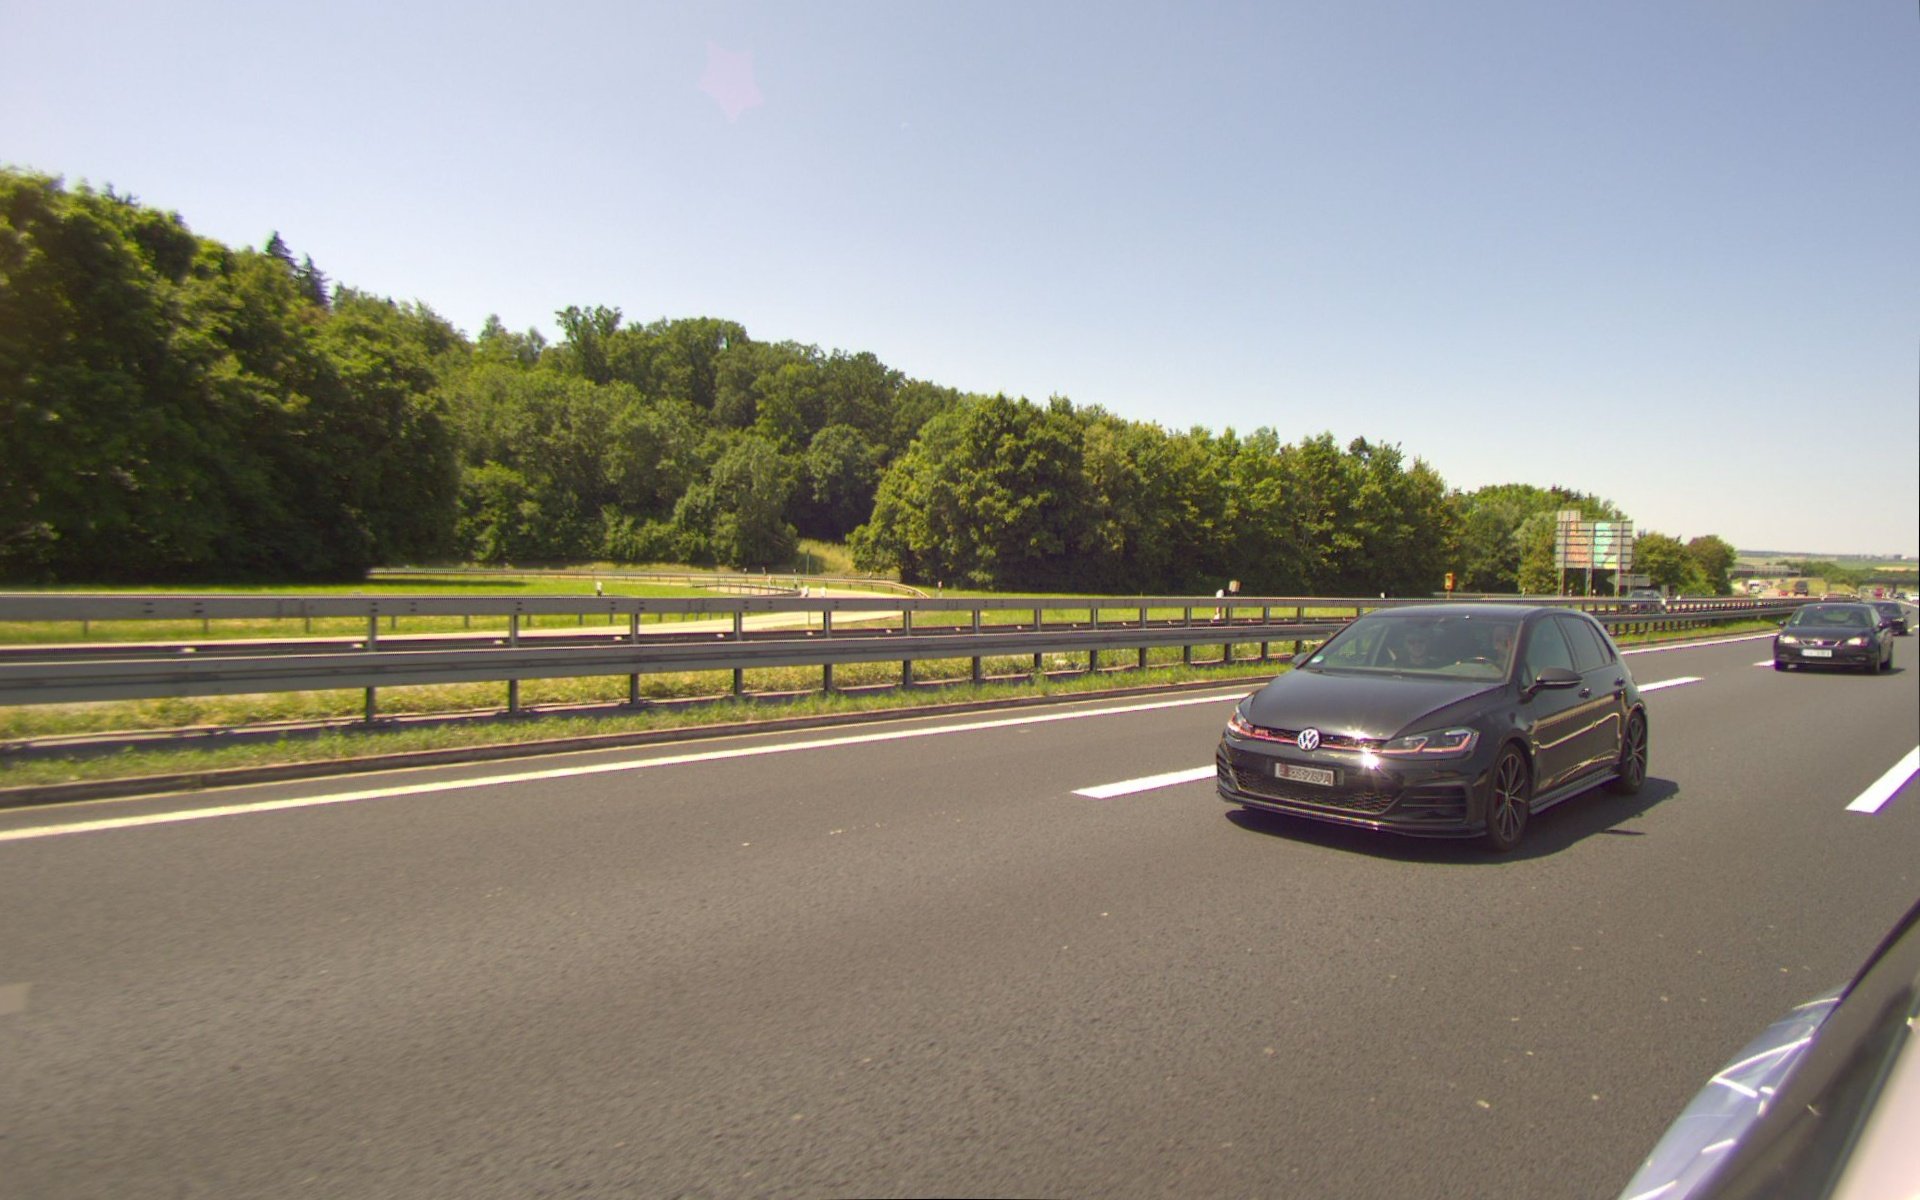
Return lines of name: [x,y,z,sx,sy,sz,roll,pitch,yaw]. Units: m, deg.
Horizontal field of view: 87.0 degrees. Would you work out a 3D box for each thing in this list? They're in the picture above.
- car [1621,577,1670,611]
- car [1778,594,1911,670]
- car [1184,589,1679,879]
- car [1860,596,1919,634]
car: [42.516,-0.375,62.719,1.992,2.039,3.940,2,1,42]
car: [18.775,0.604,21.435,3.698,1.417,1.779,-1,1,-43]
car: [3.494,0.666,7.176,3.898,1.453,1.797,-1,1,-42]
car: [39.951,0.589,43.437,1.887,1.491,3.807,1,1,43]
